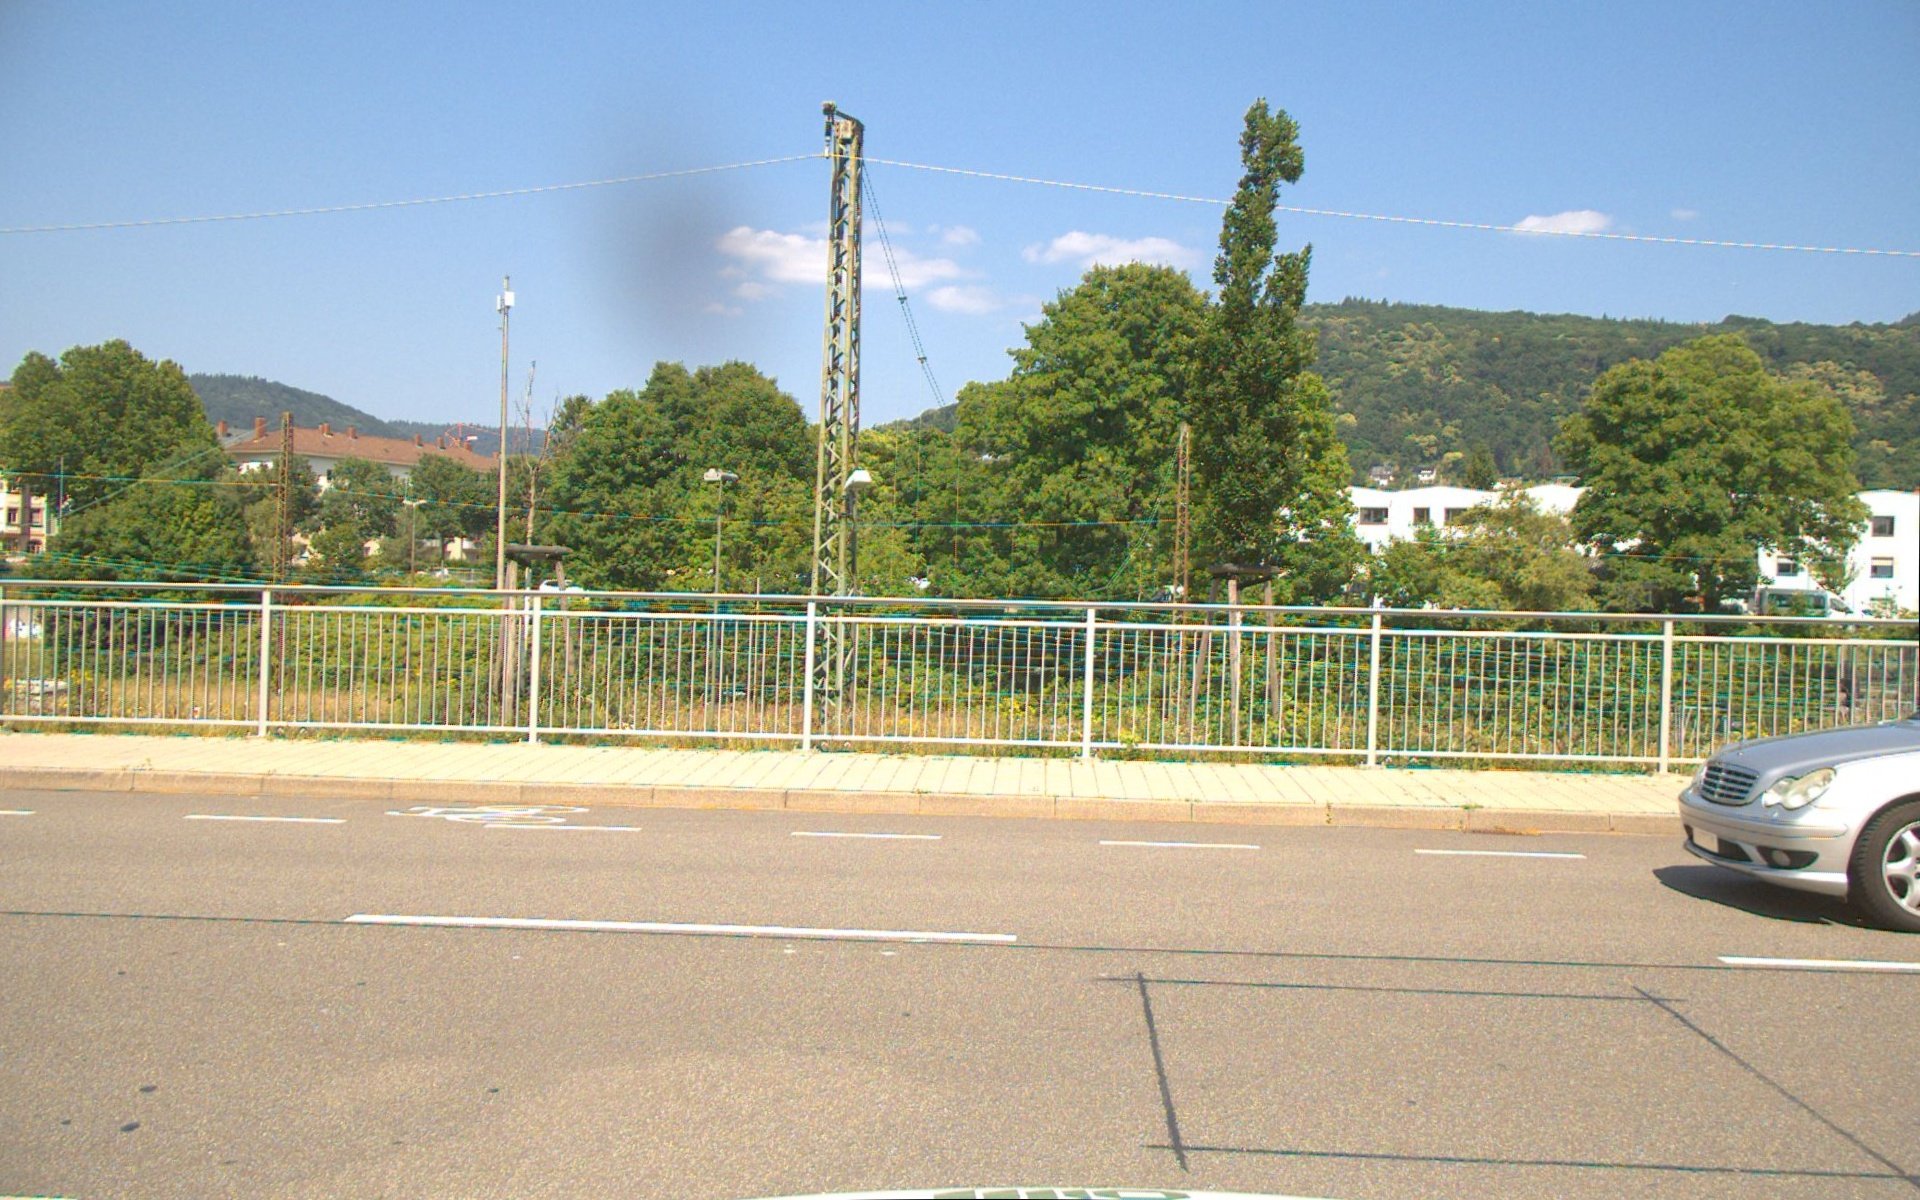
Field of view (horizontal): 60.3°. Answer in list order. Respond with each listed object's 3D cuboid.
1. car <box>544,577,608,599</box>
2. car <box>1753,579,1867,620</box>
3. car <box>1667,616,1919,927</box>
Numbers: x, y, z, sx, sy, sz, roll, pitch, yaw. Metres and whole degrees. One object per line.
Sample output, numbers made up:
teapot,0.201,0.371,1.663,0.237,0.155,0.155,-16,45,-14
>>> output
car,-26.260,-0.816,113.101,4.224,1.391,1.861,1,1,32
car,48.432,0.012,94.363,5.383,2.140,2.136,0,-5,14
car,6.099,0.838,8.410,4.280,1.428,1.715,1,-1,4
